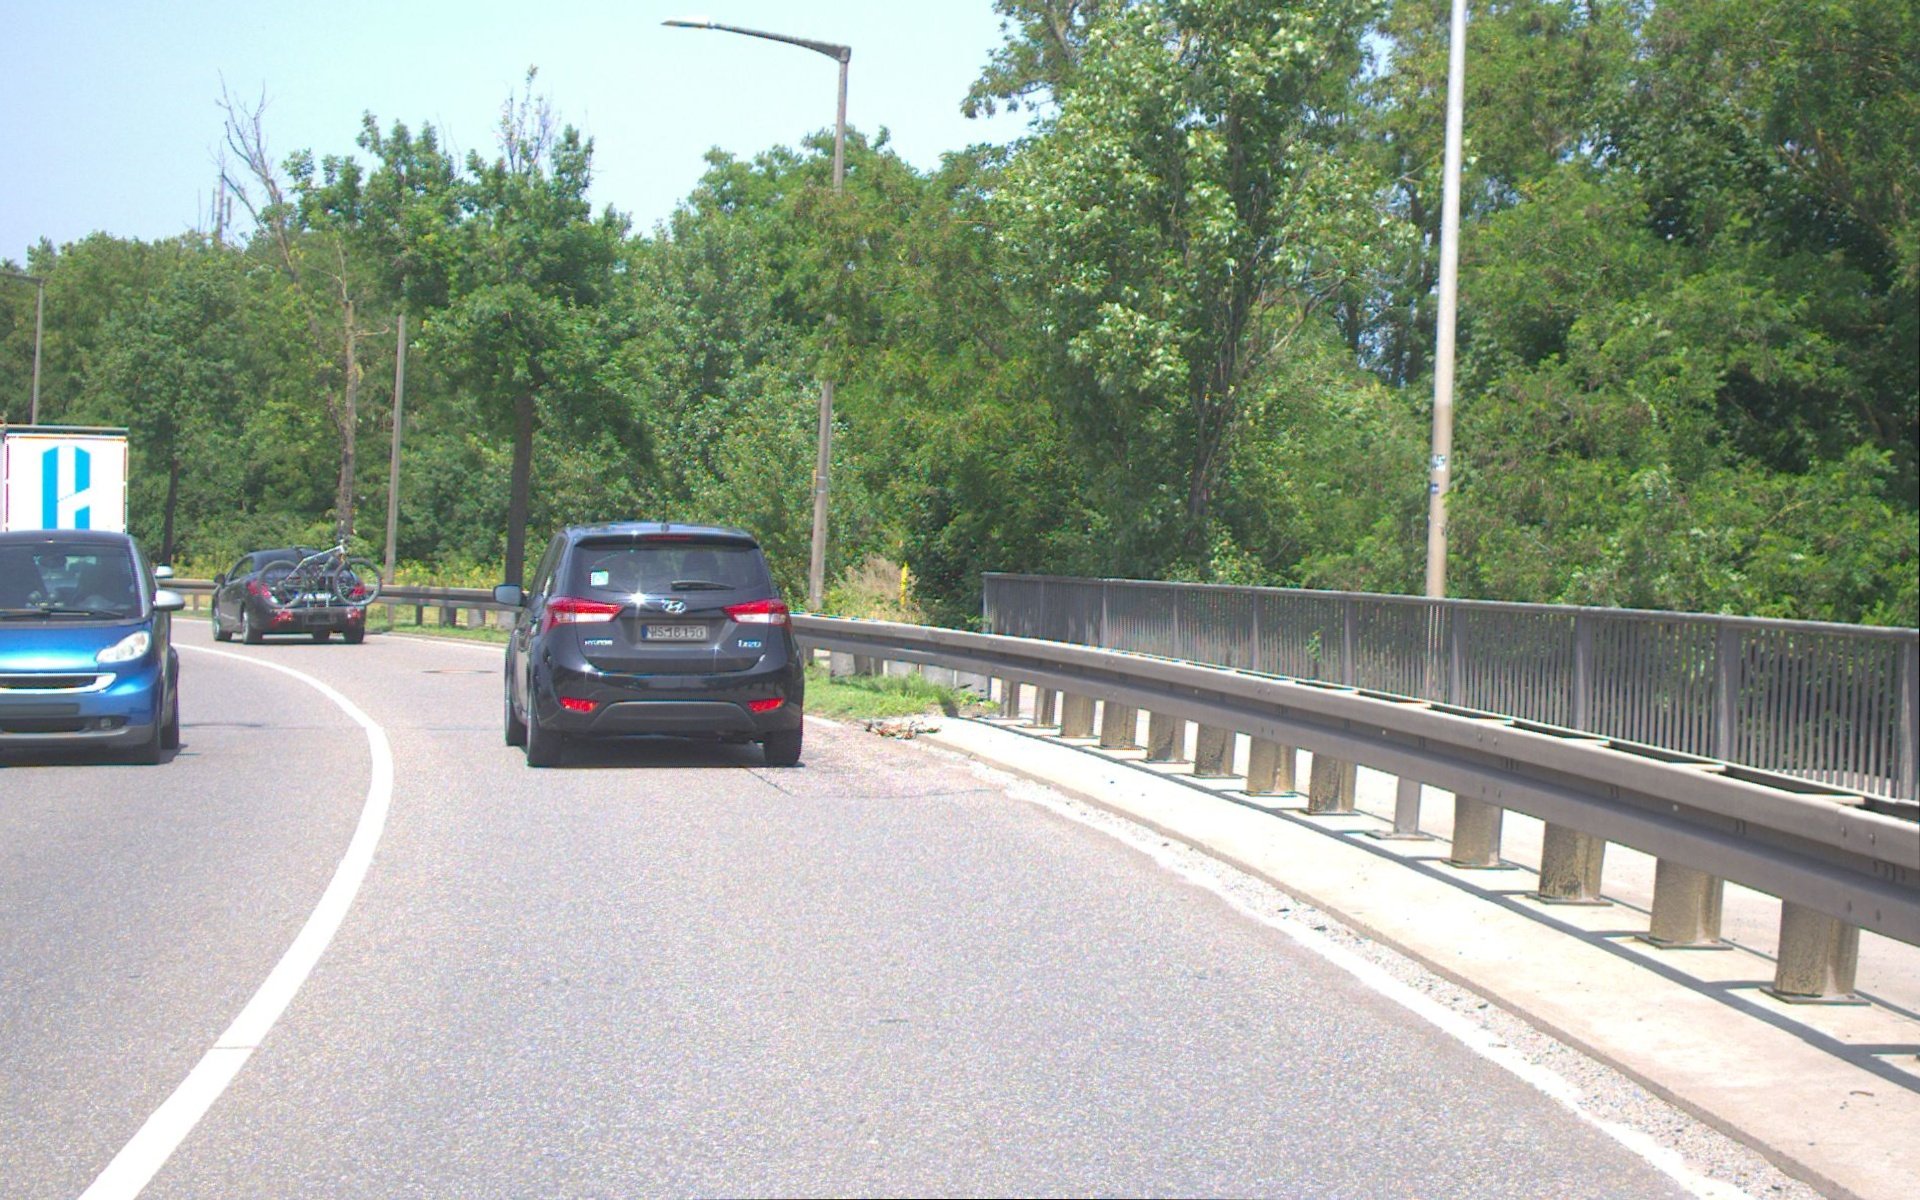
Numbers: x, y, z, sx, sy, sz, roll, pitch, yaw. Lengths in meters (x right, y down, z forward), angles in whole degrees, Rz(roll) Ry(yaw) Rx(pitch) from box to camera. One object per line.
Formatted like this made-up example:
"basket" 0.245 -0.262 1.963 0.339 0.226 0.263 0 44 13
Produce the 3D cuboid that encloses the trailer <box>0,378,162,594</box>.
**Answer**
"trailer" -20.876 -2.530 75.422 3.569 4.369 11.442 0 2 -29

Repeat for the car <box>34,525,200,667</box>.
"car" -10.008 -0.090 40.998 1.822 1.531 4.196 0 2 -13

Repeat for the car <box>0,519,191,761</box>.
"car" -6.035 0.223 23.040 1.596 1.481 2.749 0 2 -10

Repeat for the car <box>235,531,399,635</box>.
"car" -9.663 -0.279 51.455 2.011 1.424 3.778 0 2 -17

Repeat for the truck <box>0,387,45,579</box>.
"truck" -24.410 -2.802 81.637 3.572 4.425 6.516 -1 2 -30

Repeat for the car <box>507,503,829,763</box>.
"car" -2.061 0.155 23.297 1.921 1.568 3.893 0 2 -8
